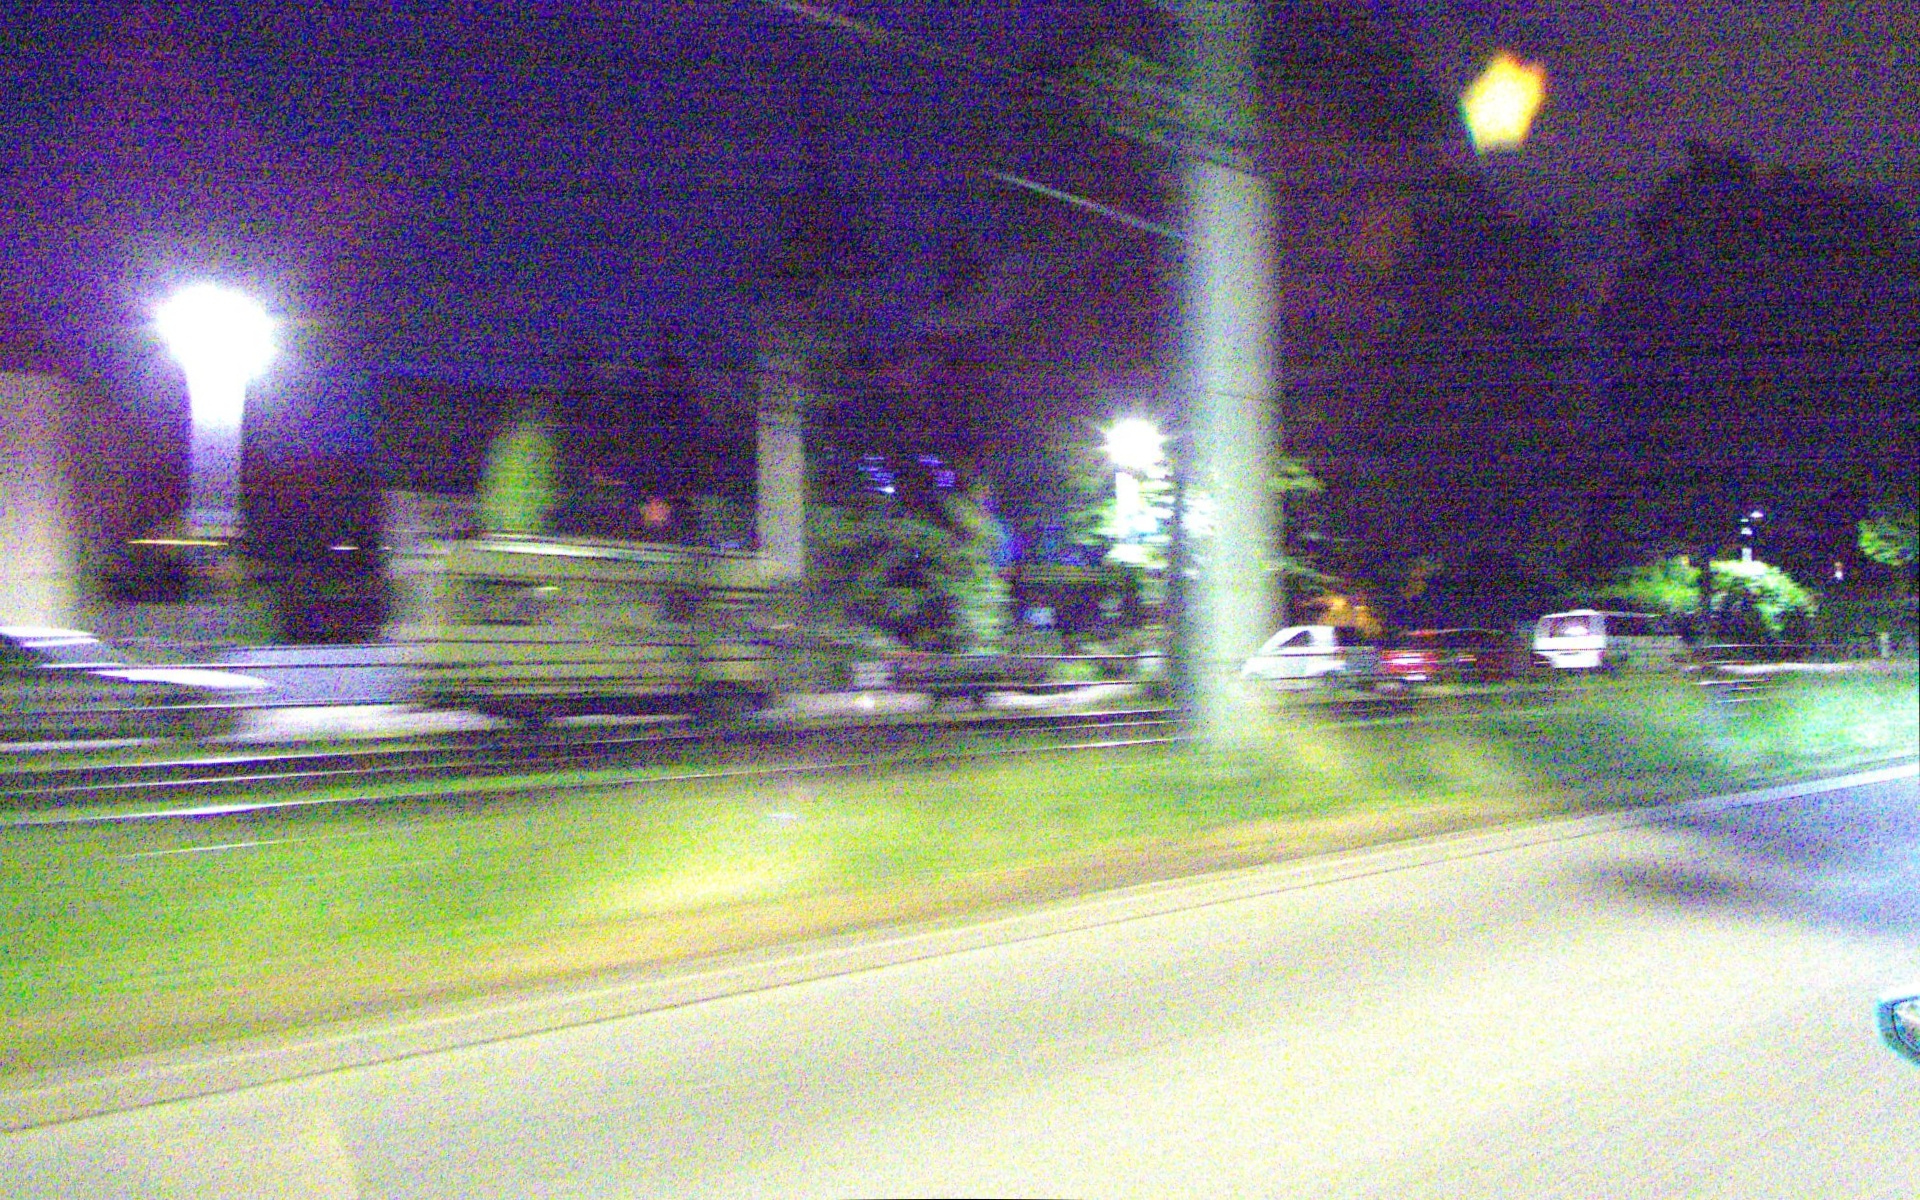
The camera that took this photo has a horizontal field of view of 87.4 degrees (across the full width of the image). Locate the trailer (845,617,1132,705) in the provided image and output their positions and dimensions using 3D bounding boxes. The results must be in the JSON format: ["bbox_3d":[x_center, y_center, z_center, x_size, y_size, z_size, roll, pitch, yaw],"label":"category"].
[{"bbox_3d":[0.492,1.107,18.116,4.591,1.392,2.414,1,-5,-25],"label":"trailer"}]

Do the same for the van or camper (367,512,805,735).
[{"bbox_3d":[-5.288,0.381,14.571,5.604,2.682,2.260,1,-3,-34],"label":"van or camper"}]

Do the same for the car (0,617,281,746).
[{"bbox_3d":[-10.490,0.935,11.388,4.489,1.356,1.639,1,-5,-30],"label":"car"}]

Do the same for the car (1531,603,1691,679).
[{"bbox_3d":[17.995,1.096,27.710,4.825,1.929,1.847,1,-1,-32],"label":"car"}]

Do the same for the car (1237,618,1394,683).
[{"bbox_3d":[7.857,1.073,22.398,1.518,1.343,3.010,1,-1,-33],"label":"car"}]

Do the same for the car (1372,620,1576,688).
[{"bbox_3d":[12.731,1.278,24.812,5.104,1.542,1.895,1,-1,-27],"label":"car"}]
